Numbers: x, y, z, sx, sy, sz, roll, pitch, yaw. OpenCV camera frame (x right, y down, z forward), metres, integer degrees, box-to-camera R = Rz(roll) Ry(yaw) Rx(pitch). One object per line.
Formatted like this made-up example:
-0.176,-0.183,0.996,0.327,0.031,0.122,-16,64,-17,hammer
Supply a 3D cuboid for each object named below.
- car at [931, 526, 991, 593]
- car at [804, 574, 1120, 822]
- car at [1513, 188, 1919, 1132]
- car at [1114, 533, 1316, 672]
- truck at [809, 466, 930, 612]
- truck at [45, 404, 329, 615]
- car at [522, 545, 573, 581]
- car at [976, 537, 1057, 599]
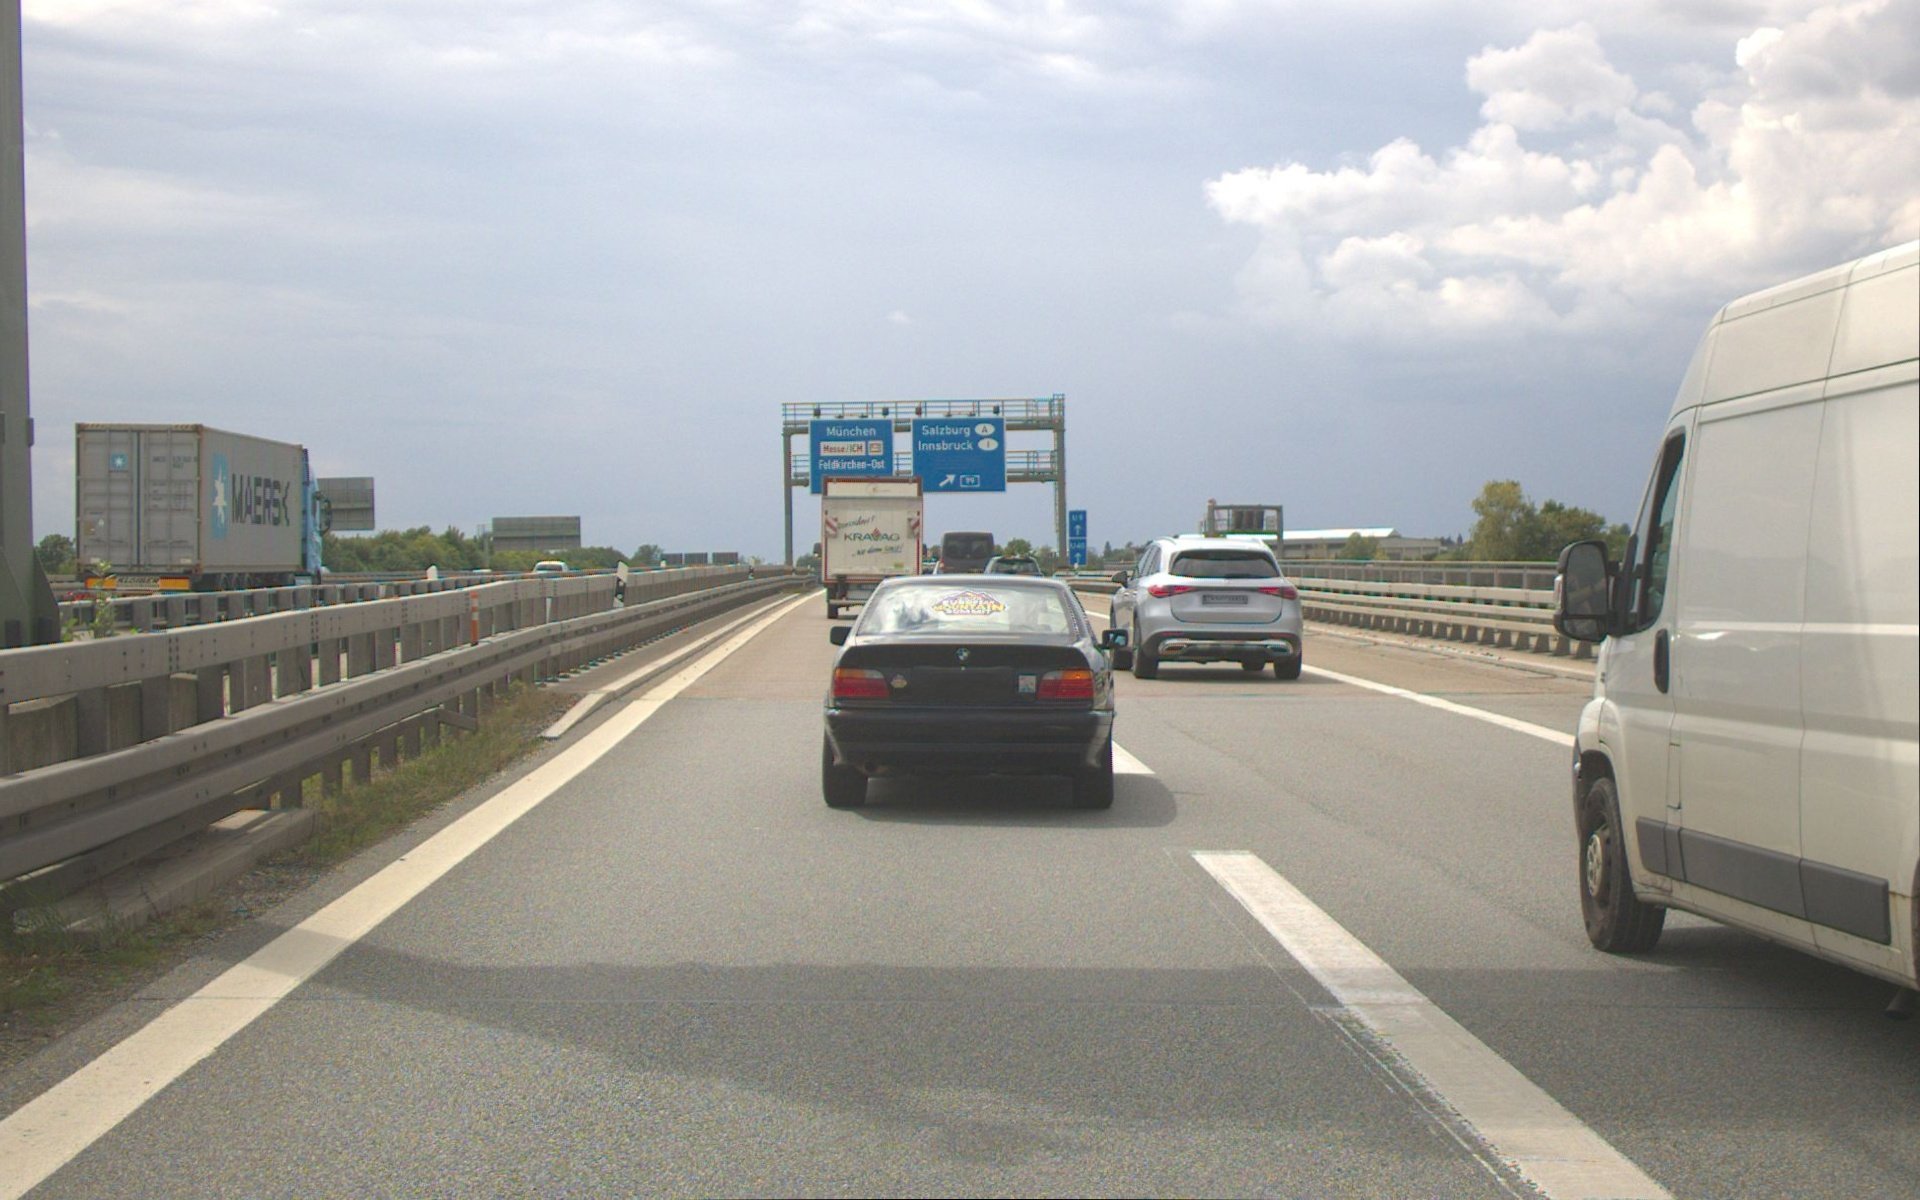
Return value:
0.030,-1.440,120.436,1.906,2.254,4.649,1,1,-2,car
0.078,0.518,20.889,1.704,1.277,4.366,1,1,2,car
3.457,0.128,10.875,2.114,2.445,6.152,1,1,-3,car
2.915,-0.006,40.059,1.819,1.509,4.001,1,1,-3,car
-2.074,-1.300,78.407,2.569,3.115,8.634,1,0,-2,truck
-16.339,-1.887,74.150,3.183,4.005,16.077,1,1,-3,truck
-18.607,-1.686,155.260,1.828,1.557,4.000,0,1,0,car
1.430,-0.844,88.734,1.884,1.546,4.000,1,1,-2,car
